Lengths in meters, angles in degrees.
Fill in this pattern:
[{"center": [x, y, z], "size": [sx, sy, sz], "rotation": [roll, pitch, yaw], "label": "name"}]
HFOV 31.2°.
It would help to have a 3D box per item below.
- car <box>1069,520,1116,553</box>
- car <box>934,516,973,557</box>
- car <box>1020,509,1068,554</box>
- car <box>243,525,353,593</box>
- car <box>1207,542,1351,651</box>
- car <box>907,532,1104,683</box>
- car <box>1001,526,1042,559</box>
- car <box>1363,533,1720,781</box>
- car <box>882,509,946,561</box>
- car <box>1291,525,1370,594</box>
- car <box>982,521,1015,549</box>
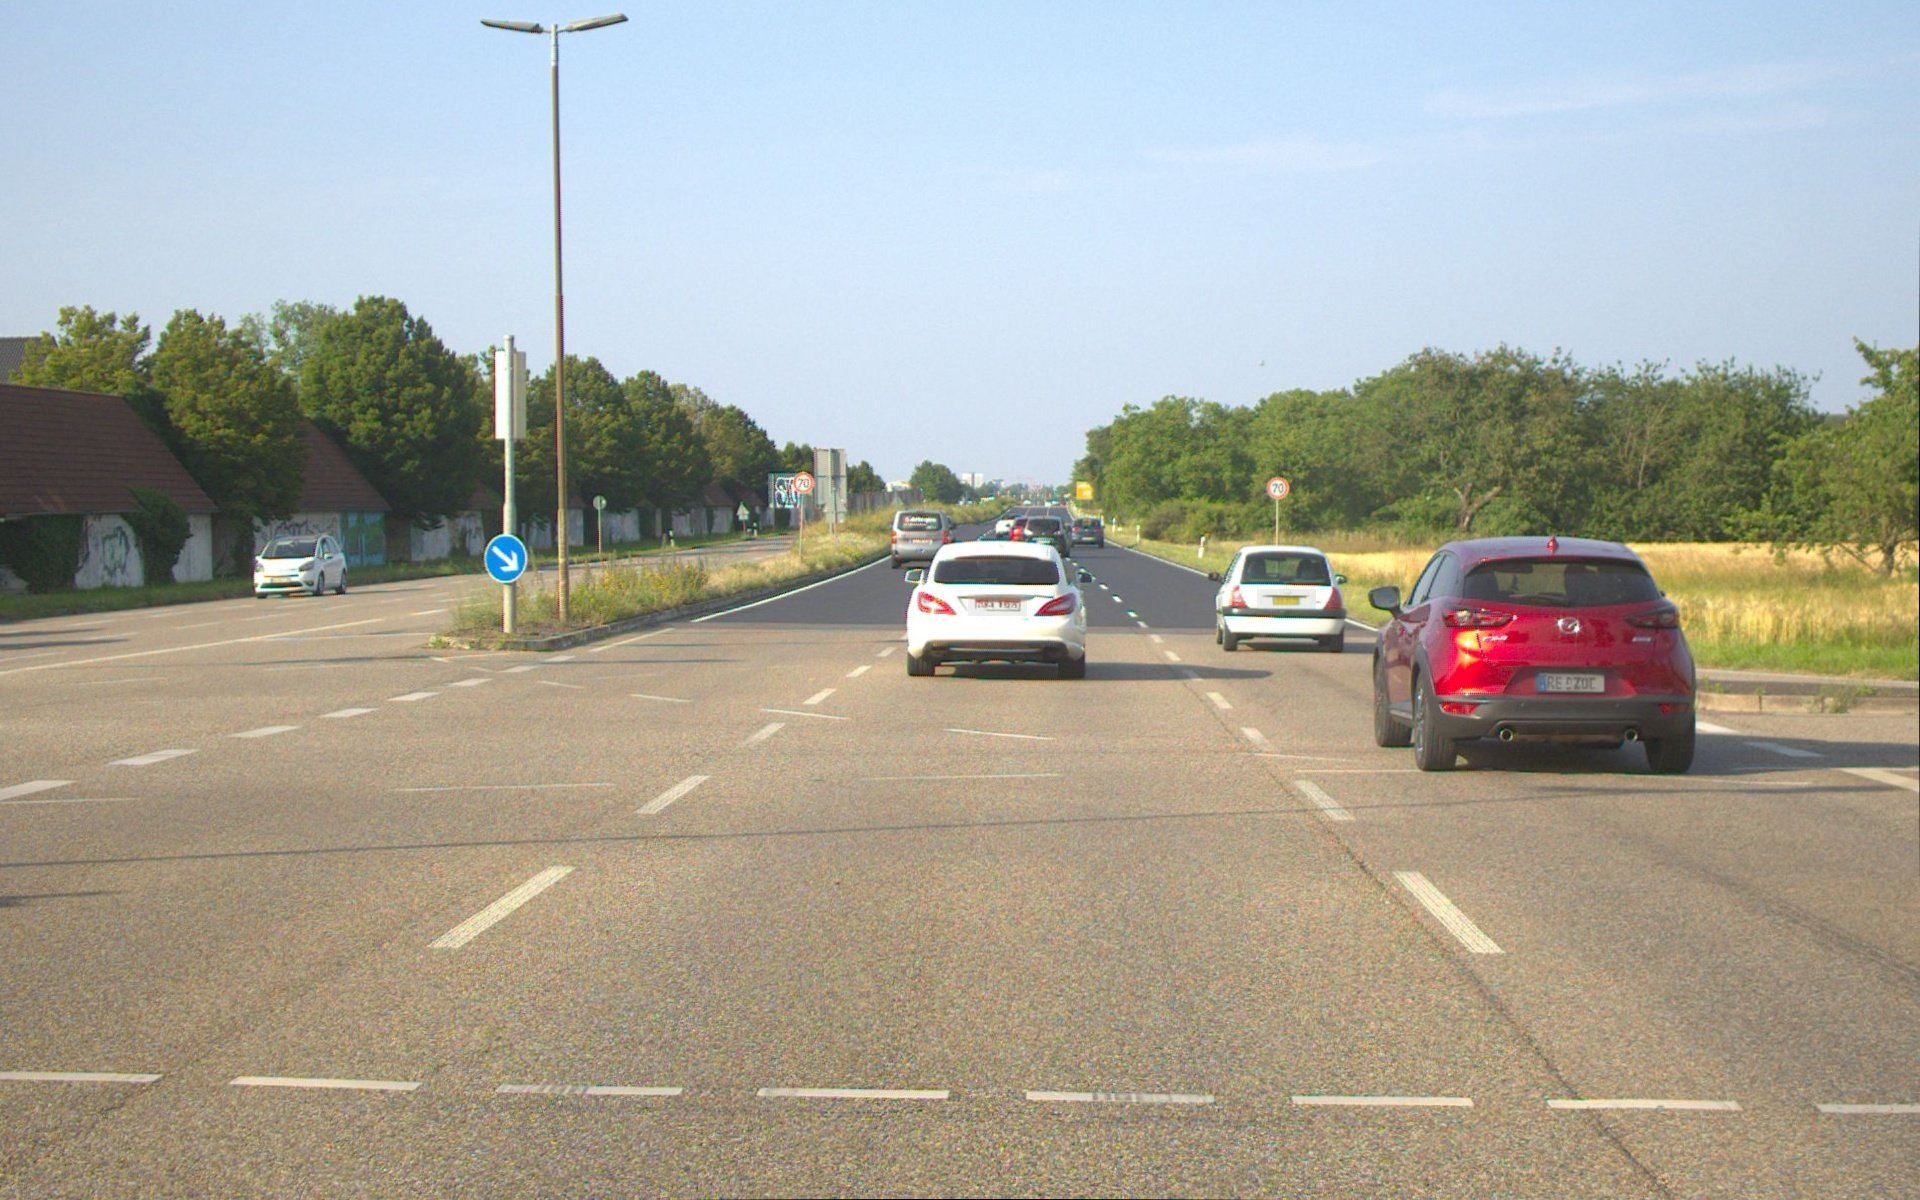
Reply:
[{"center": [6.500, -3.116, 169.058], "size": [1.993, 1.579, 4.285], "rotation": [1, 1, -1], "label": "car"}, {"center": [-0.316, -3.219, 174.345], "size": [1.839, 2.007, 4.000], "rotation": [1, 1, 2], "label": "car"}, {"center": [3.324, -2.721, 136.433], "size": [1.828, 1.722, 4.000], "rotation": [1, 1, 1], "label": "car"}, {"center": [-17.936, -1.118, 93.359], "size": [1.836, 1.701, 4.757], "rotation": [-3, 1, 2], "label": "car"}, {"center": [4.262, -0.073, 46.343], "size": [1.617, 1.382, 3.951], "rotation": [1, 1, 1], "label": "car"}, {"center": [0.513, 0.048, 37.031], "size": [1.993, 1.511, 4.000], "rotation": [1, 1, 1], "label": "car"}, {"center": [2.805, -2.639, 157.930], "size": [1.812, 1.431, 3.858], "rotation": [1, 1, 1], "label": "car"}, {"center": [3.831, 0.316, 23.350], "size": [1.704, 1.500, 4.501], "rotation": [1, 1, 1], "label": "car"}, {"center": [-1.442, -2.072, 109.751], "size": [1.759, 1.612, 4.000], "rotation": [1, 1, 3], "label": "car"}, {"center": [8.755, -0.964, 81.414], "size": [1.654, 1.564, 3.679], "rotation": [1, 1, 3], "label": "car"}, {"center": [2.231, -3.781, 200.279], "size": [1.795, 1.645, 3.541], "rotation": [1, 1, -1], "label": "car"}]
